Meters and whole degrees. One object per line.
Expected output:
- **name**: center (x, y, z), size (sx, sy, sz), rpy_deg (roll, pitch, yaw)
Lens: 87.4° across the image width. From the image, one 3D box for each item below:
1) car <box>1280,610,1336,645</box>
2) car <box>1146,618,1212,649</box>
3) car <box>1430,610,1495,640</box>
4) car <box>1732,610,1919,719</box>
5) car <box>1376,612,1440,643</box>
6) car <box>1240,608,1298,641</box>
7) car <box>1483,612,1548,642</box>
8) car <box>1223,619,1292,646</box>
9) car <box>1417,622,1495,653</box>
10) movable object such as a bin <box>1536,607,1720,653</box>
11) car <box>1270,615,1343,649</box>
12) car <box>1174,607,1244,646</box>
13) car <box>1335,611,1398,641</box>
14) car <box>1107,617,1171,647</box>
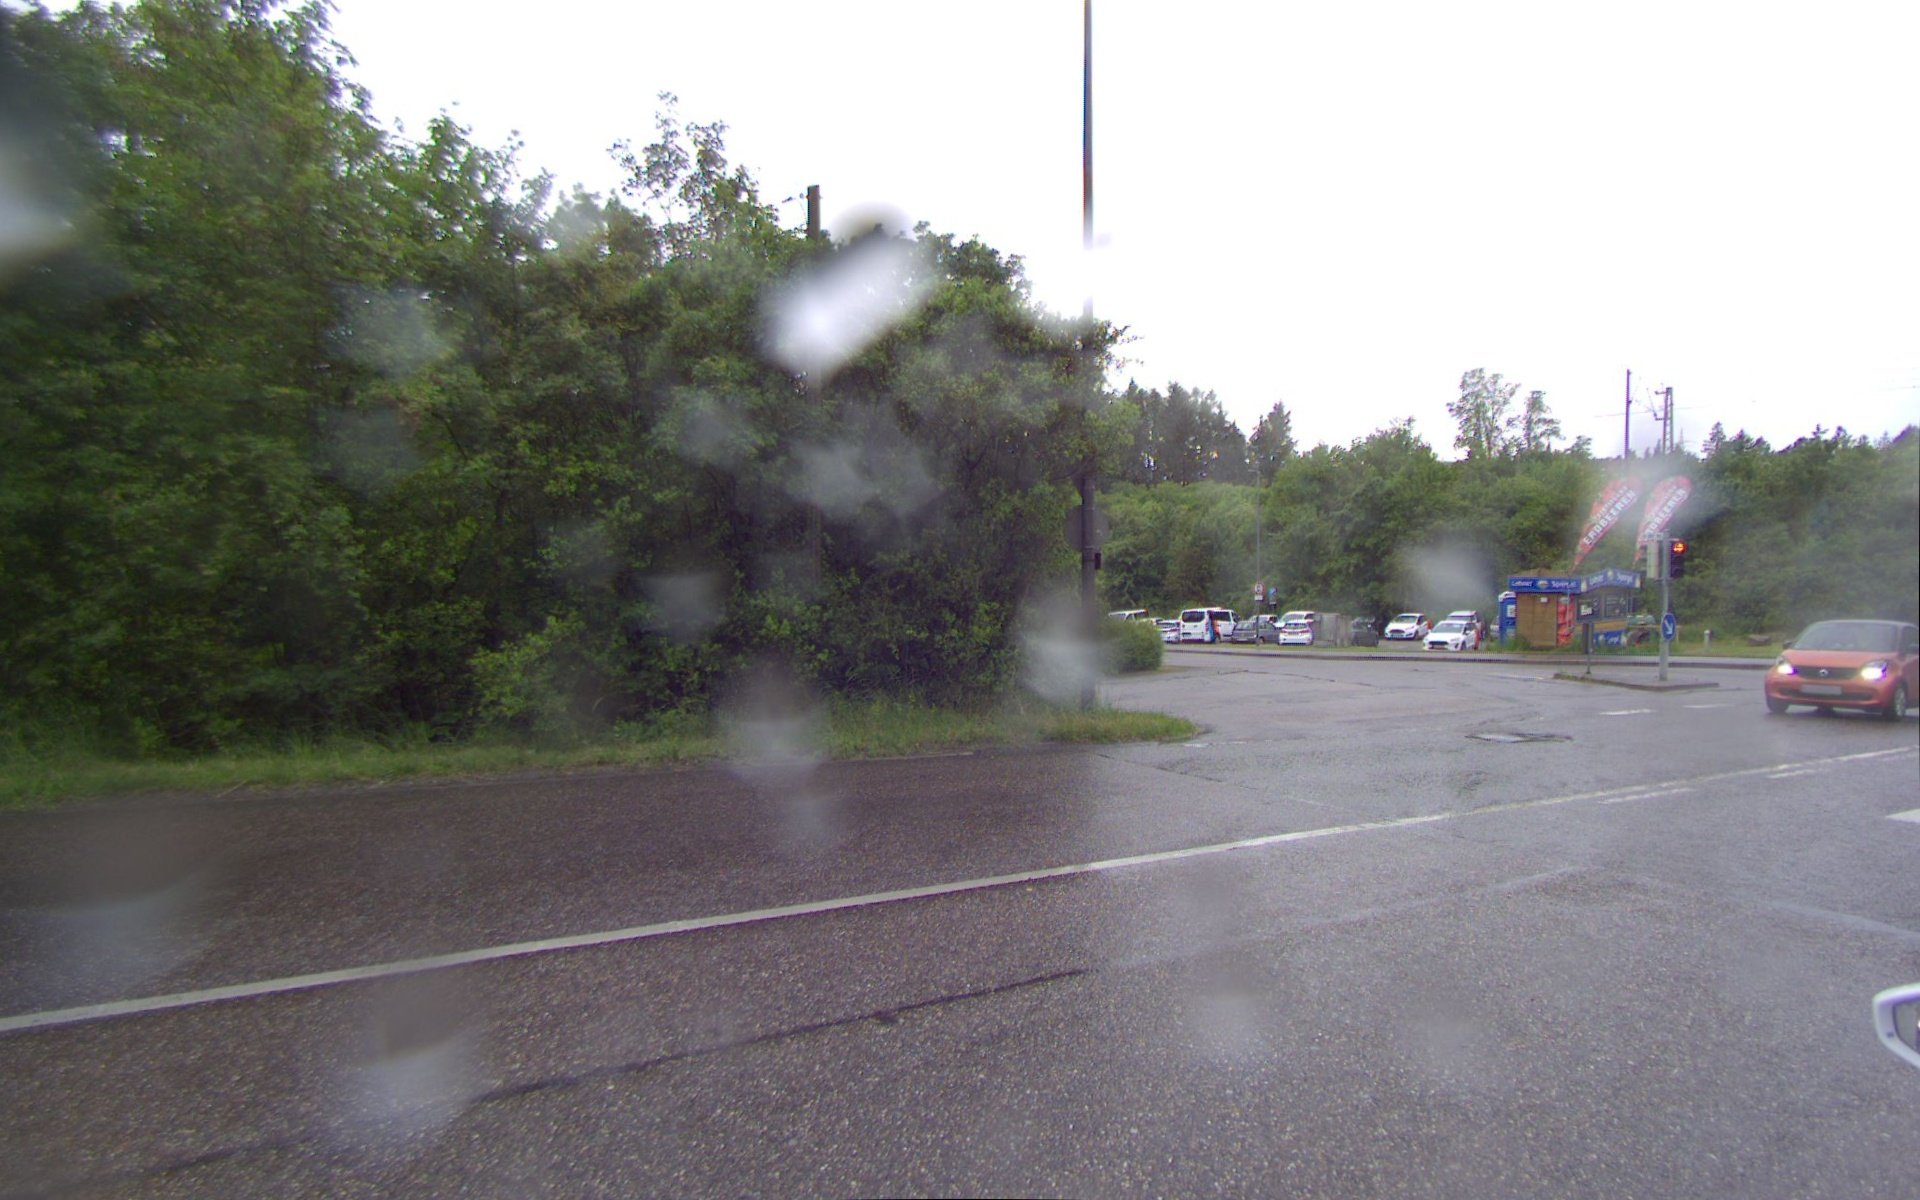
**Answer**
- **car**: center (21.867, 1.706, 63.098), size (1.916, 2.040, 3.846), rpy_deg (1, 0, 43)
- **car**: center (12.339, 1.885, 56.523), size (1.834, 1.606, 3.978), rpy_deg (1, -1, 42)
- **car**: center (27.799, 1.389, 55.559), size (3.972, 1.606, 1.975), rpy_deg (2, -1, -43)
- **car**: center (15.117, 1.058, 16.930), size (3.954, 1.606, 1.984), rpy_deg (3, -1, -30)
- **car**: center (25.660, 1.585, 57.484), size (3.972, 1.606, 1.975), rpy_deg (3, -1, -43)
- **car**: center (19.997, 1.574, 64.979), size (3.973, 2.040, 1.974), rpy_deg (2, -1, -44)
- **car**: center (30.092, 1.458, 54.375), size (3.972, 1.606, 1.975), rpy_deg (2, -1, -43)
- **car**: center (15.823, 1.726, 53.336), size (3.972, 1.327, 1.734), rpy_deg (3, -1, -43)
- **car**: center (23.191, 1.769, 46.872), size (4.868, 1.358, 1.636), rpy_deg (3, -1, -43)
- **movable object such as a bin**: center (27.417, 1.222, 41.463), size (5.663, 1.649, 2.753), rpy_deg (2, -1, 10)
- **car**: center (17.813, 1.636, 51.584), size (3.880, 1.606, 1.918), rpy_deg (3, -1, -43)
- **car**: center (13.562, 1.449, 54.585), size (1.971, 1.975, 3.978), rpy_deg (1, -1, 42)
- **car**: center (24.144, 1.558, 59.551), size (3.972, 1.606, 1.975), rpy_deg (3, -1, -43)
- **car**: center (10.425, 1.860, 58.420), size (1.813, 1.606, 3.978), rpy_deg (1, -1, 42)
